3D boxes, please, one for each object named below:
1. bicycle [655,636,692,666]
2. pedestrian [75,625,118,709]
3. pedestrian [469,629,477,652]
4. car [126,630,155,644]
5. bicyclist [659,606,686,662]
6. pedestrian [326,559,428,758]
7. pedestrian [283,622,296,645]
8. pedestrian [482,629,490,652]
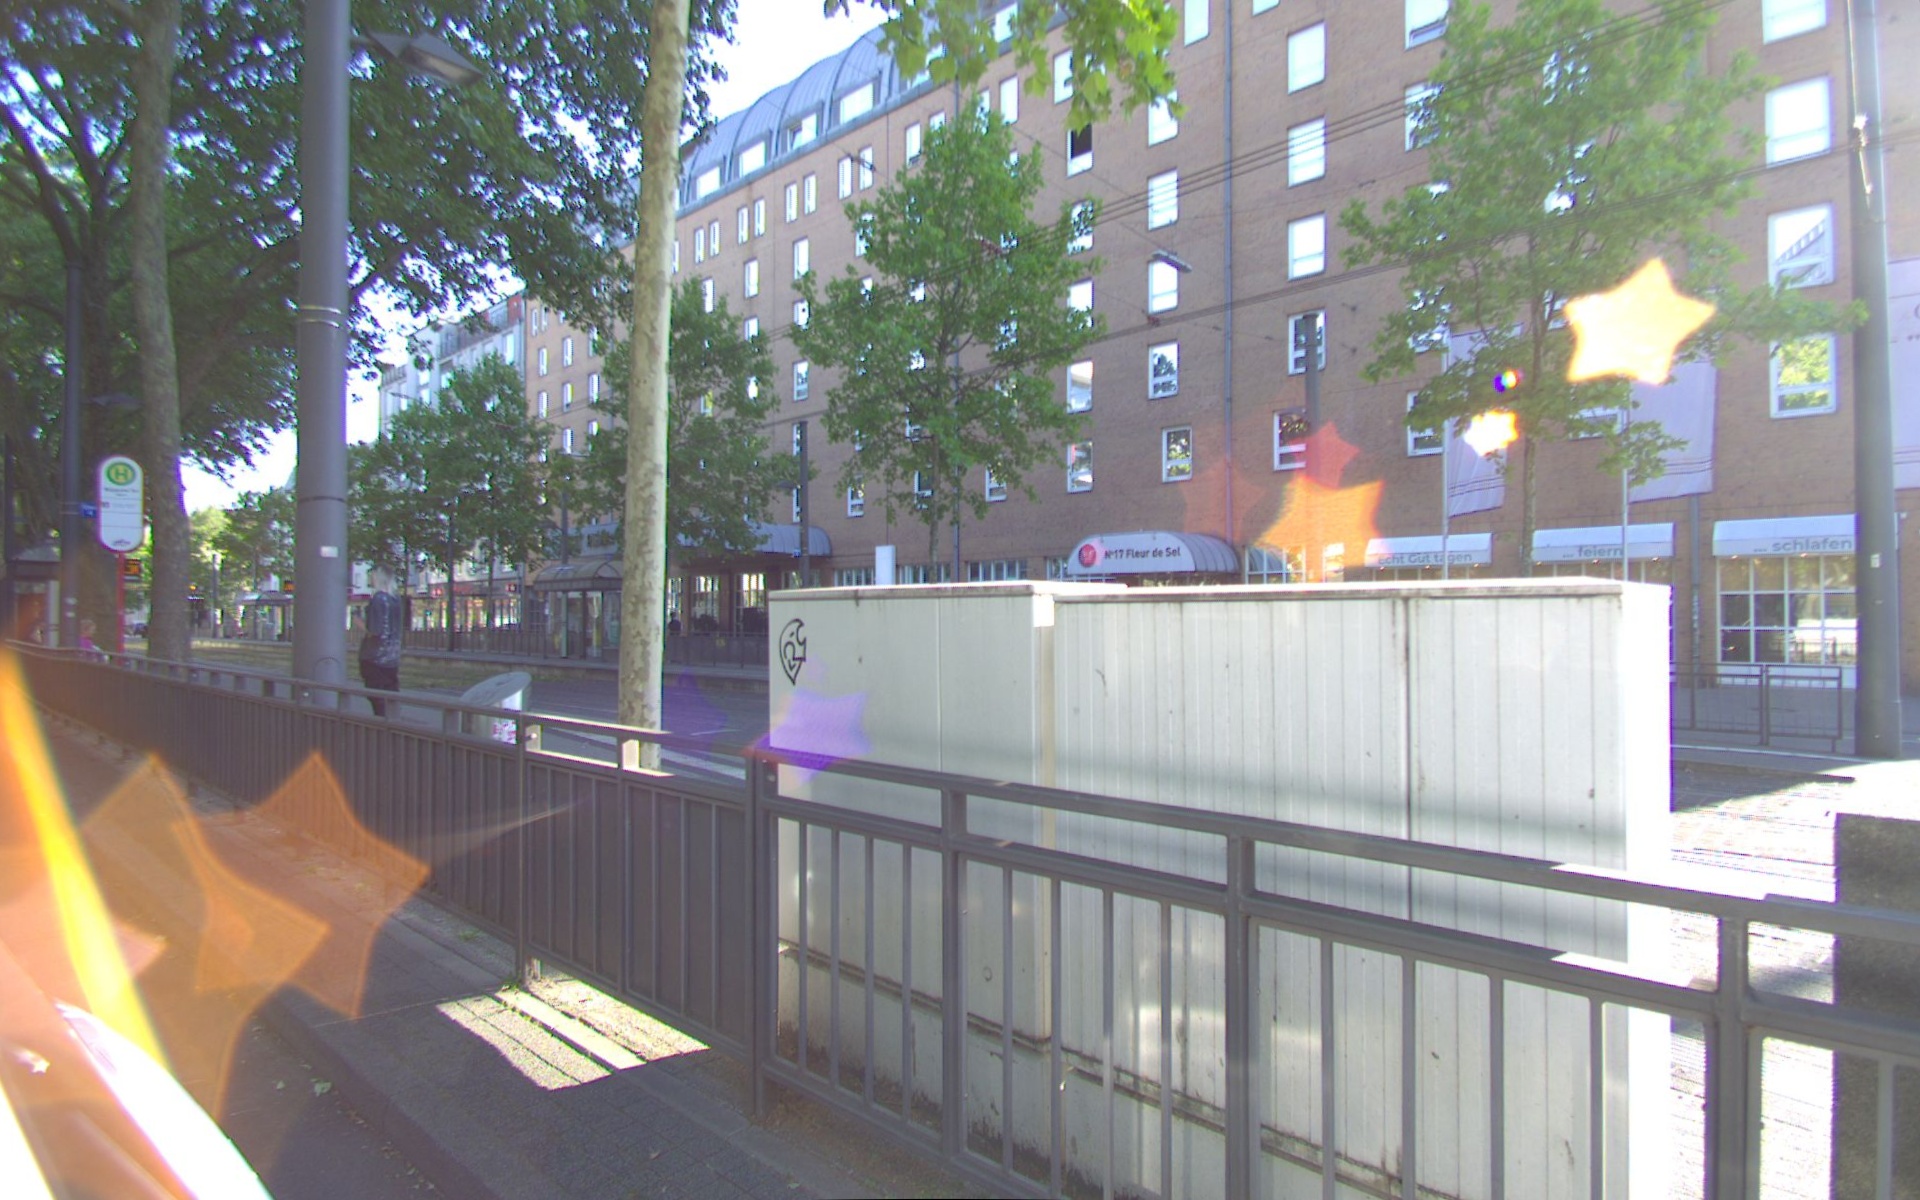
[{"bbox_3d":[-9.908,1.751,34.995,0.444,1.012,1.754,2,-2,-44],"label":"bicycle"},{"bbox_3d":[-13.948,1.064,16.352,0.493,1.325,0.419,1,-2,-41],"label":"pedestrian"},{"bbox_3d":[-31.881,2.631,66.279,0.431,1.518,0.660,1,-2,-27],"label":"pedestrian"},{"bbox_3d":[-90.892,4.047,112.209,4.000,1.530,1.972,-2,-2,43],"label":"car"},{"bbox_3d":[-9.931,1.176,34.927,0.564,1.918,0.814,2,-2,-43],"label":"bicyclist"},{"bbox_3d":[-5.773,0.551,10.033,0.618,1.897,0.603,1,0,18],"label":"pedestrian"},{"bbox_3d":[-60.080,3.008,90.702,0.763,2.029,0.796,-2,-2,41],"label":"pedestrian"},{"bbox_3d":[-31.184,2.653,66.521,0.431,1.532,0.660,1,-2,-27],"label":"pedestrian"}]
